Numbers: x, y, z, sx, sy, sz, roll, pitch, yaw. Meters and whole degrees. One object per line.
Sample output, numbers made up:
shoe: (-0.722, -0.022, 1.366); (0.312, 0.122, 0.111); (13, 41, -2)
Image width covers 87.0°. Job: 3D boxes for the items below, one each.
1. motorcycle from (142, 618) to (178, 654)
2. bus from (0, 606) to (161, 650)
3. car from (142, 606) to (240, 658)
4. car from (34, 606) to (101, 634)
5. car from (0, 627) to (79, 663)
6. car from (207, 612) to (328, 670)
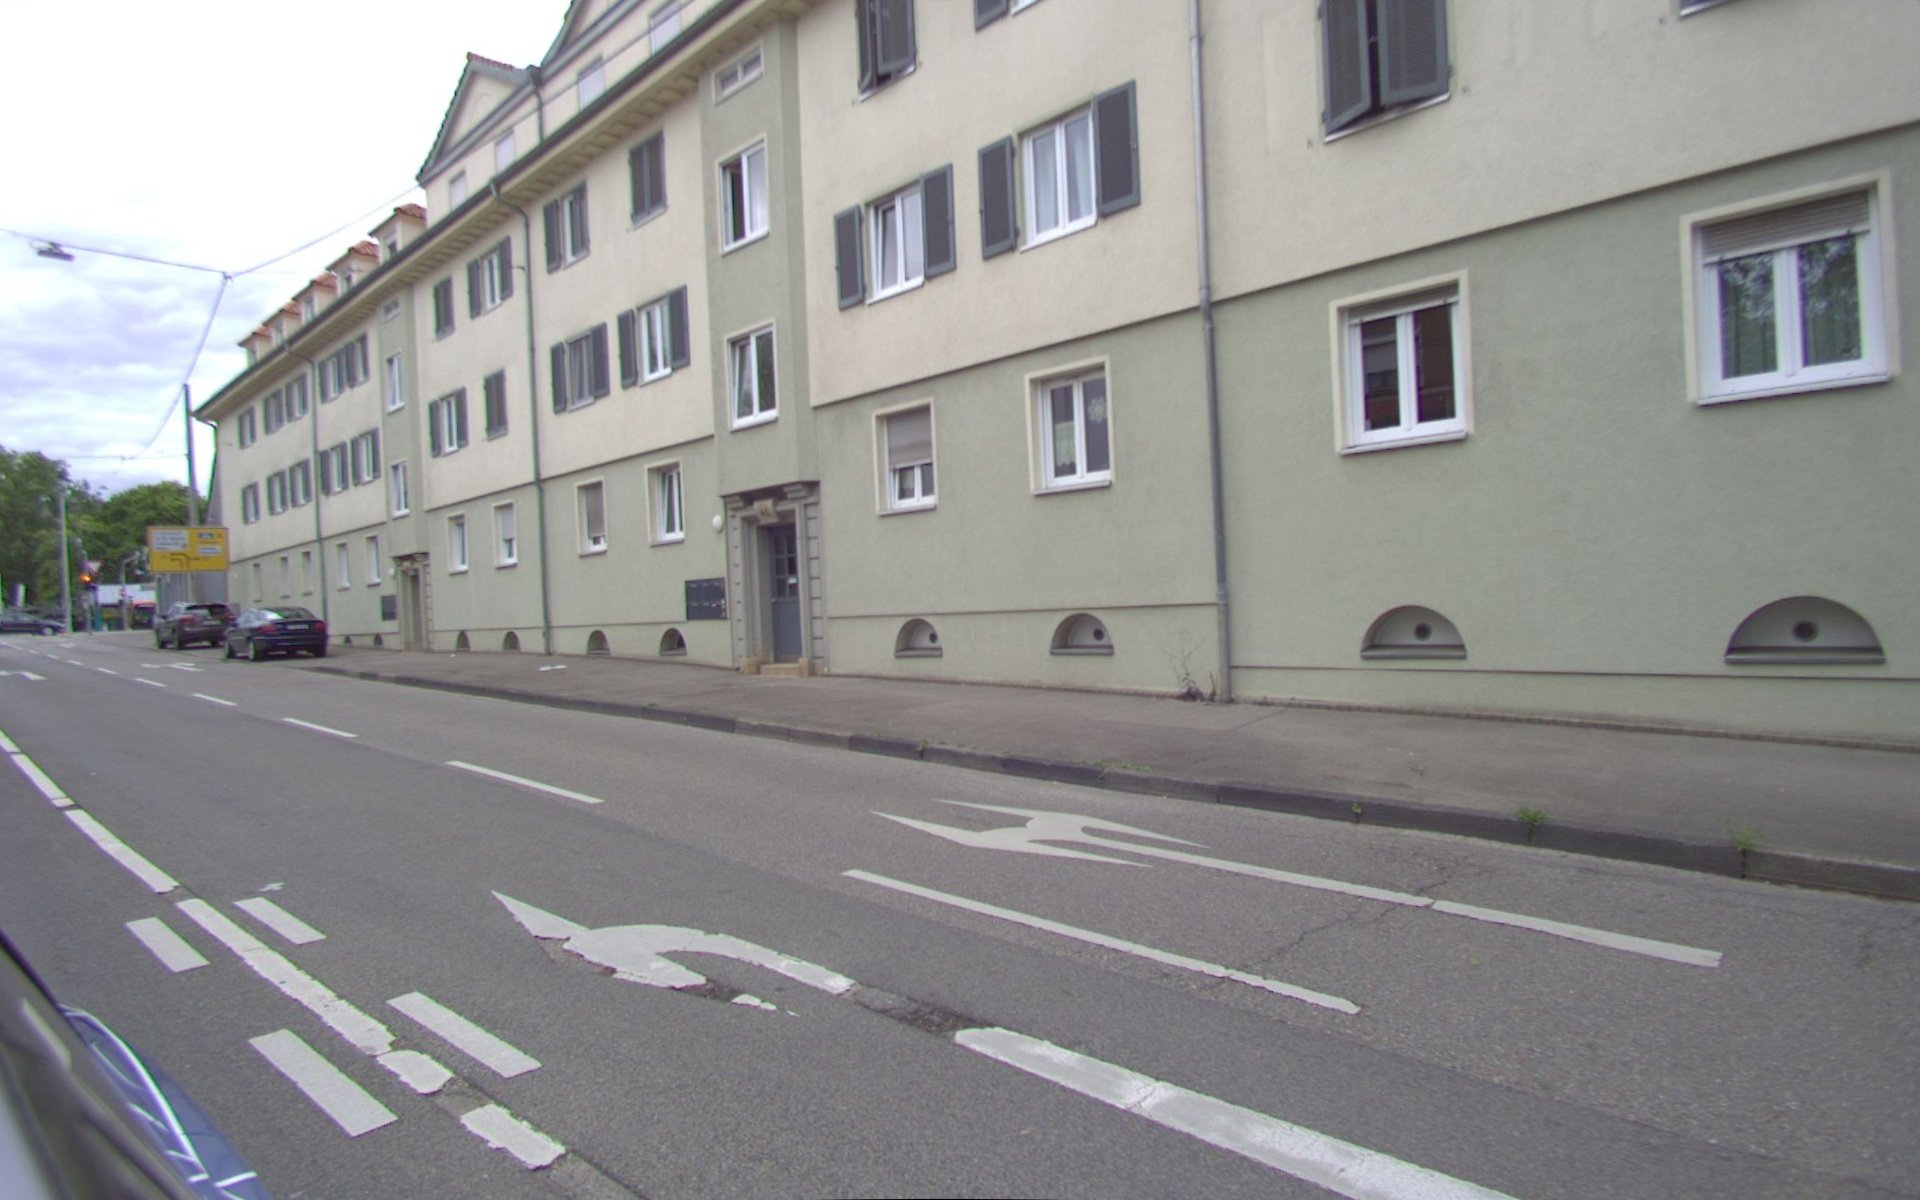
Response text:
motorcycle: (-30.835, 1.368, 38.995); (2.229, 1.300, 0.619); (-1, 2, 41)
bus: (-71.270, 2.213, 80.712); (11.682, 3.086, 2.001); (-1, -2, -44)
car: (-27.072, 1.105, 35.577); (4.694, 1.645, 1.803); (-1, 1, 41)
car: (-74.579, 1.659, 84.613); (1.997, 2.206, 3.949); (-1, -1, 38)
car: (-56.726, 2.733, 61.935); (1.998, 2.029, 3.947); (-1, 0, 40)
car: (-19.348, 1.082, 28.188); (4.845, 1.413, 1.692); (-1, 1, 42)
